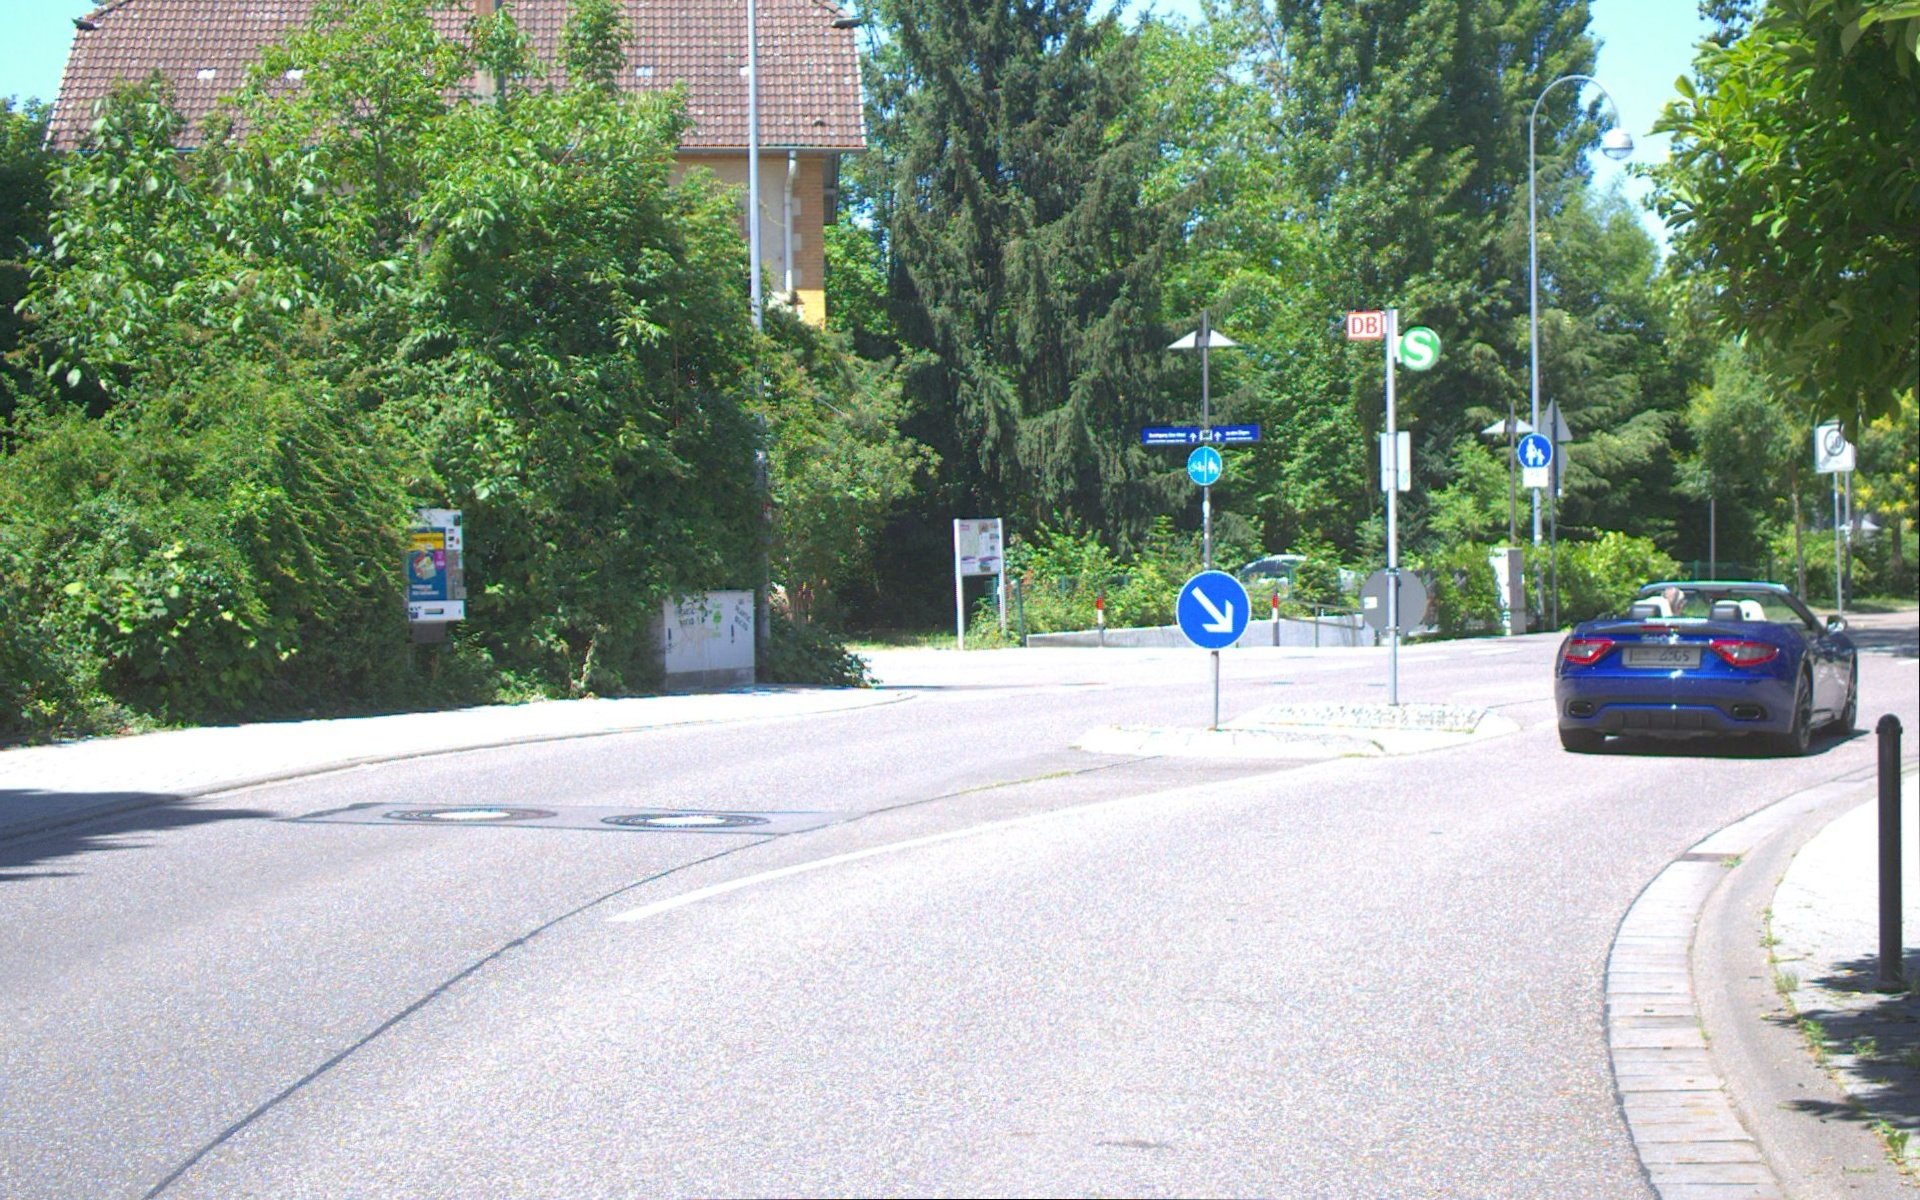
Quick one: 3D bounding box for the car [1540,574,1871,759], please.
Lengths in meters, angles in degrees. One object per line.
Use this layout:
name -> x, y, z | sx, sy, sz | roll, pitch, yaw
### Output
car -> 6.147, 0.473, 27.957 | 1.829, 1.332, 4.695 | 0, 1, 22
